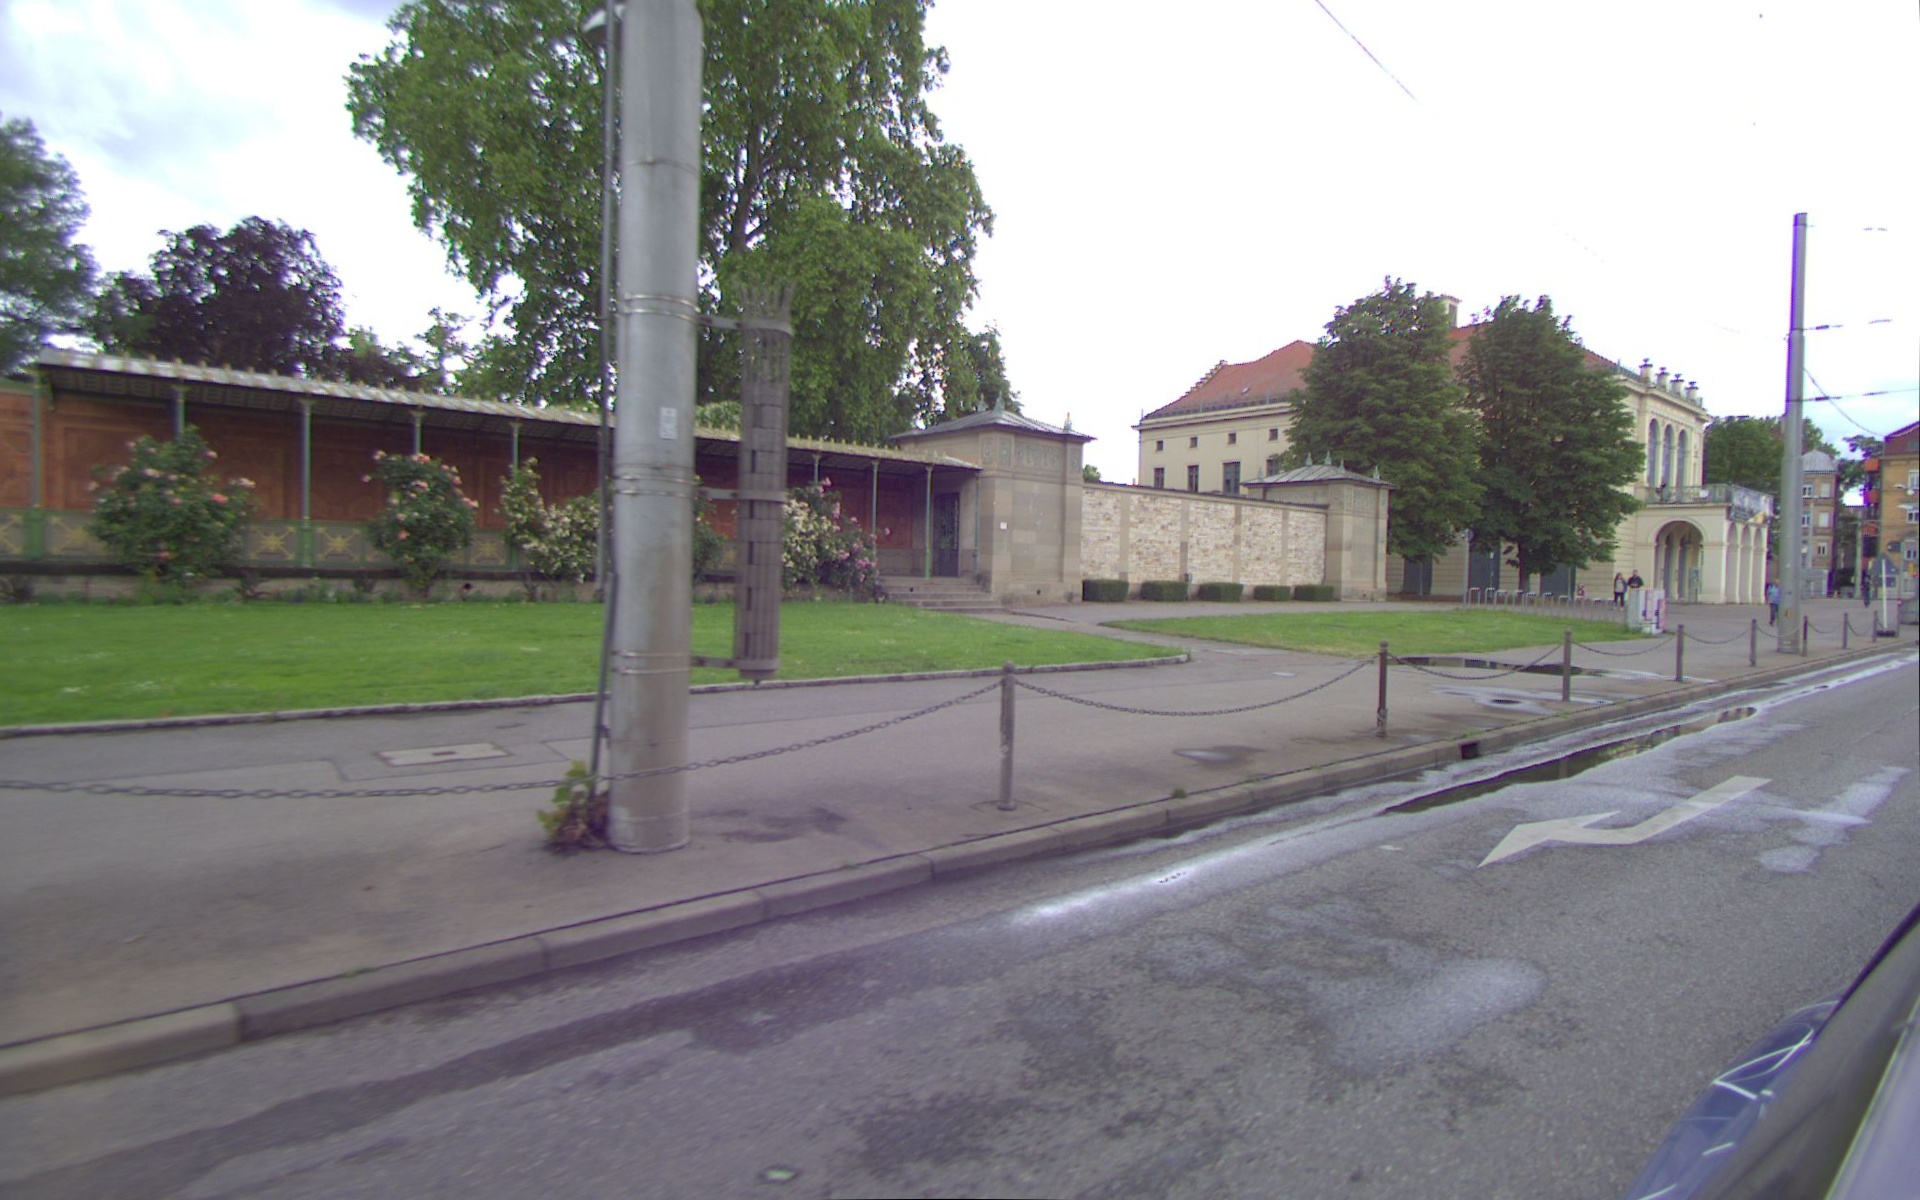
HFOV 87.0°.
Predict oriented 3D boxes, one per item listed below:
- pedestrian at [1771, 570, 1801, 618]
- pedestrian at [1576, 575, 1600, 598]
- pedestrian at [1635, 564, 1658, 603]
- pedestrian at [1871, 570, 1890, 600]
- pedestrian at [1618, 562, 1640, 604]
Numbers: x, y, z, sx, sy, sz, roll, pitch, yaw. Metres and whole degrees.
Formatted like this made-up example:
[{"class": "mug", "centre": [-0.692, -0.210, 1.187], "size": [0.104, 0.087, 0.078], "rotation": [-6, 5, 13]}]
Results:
[{"class": "pedestrian", "centre": [31.640, -0.236, 38.774], "size": [0.920, 1.789, 0.672], "rotation": [-1, 3, -41]}, {"class": "pedestrian", "centre": [29.112, -0.625, 46.927], "size": [0.748, 1.013, 0.594], "rotation": [1, 2, 15]}, {"class": "pedestrian", "centre": [30.326, -0.732, 44.714], "size": [0.776, 1.719, 0.597], "rotation": [-1, 3, -40]}, {"class": "pedestrian", "centre": [55.485, -0.925, 60.992], "size": [0.920, 1.789, 0.672], "rotation": [-1, 3, -41]}, {"class": "pedestrian", "centre": [29.890, -0.770, 45.201], "size": [0.794, 1.814, 0.596], "rotation": [-1, 3, -41]}]
